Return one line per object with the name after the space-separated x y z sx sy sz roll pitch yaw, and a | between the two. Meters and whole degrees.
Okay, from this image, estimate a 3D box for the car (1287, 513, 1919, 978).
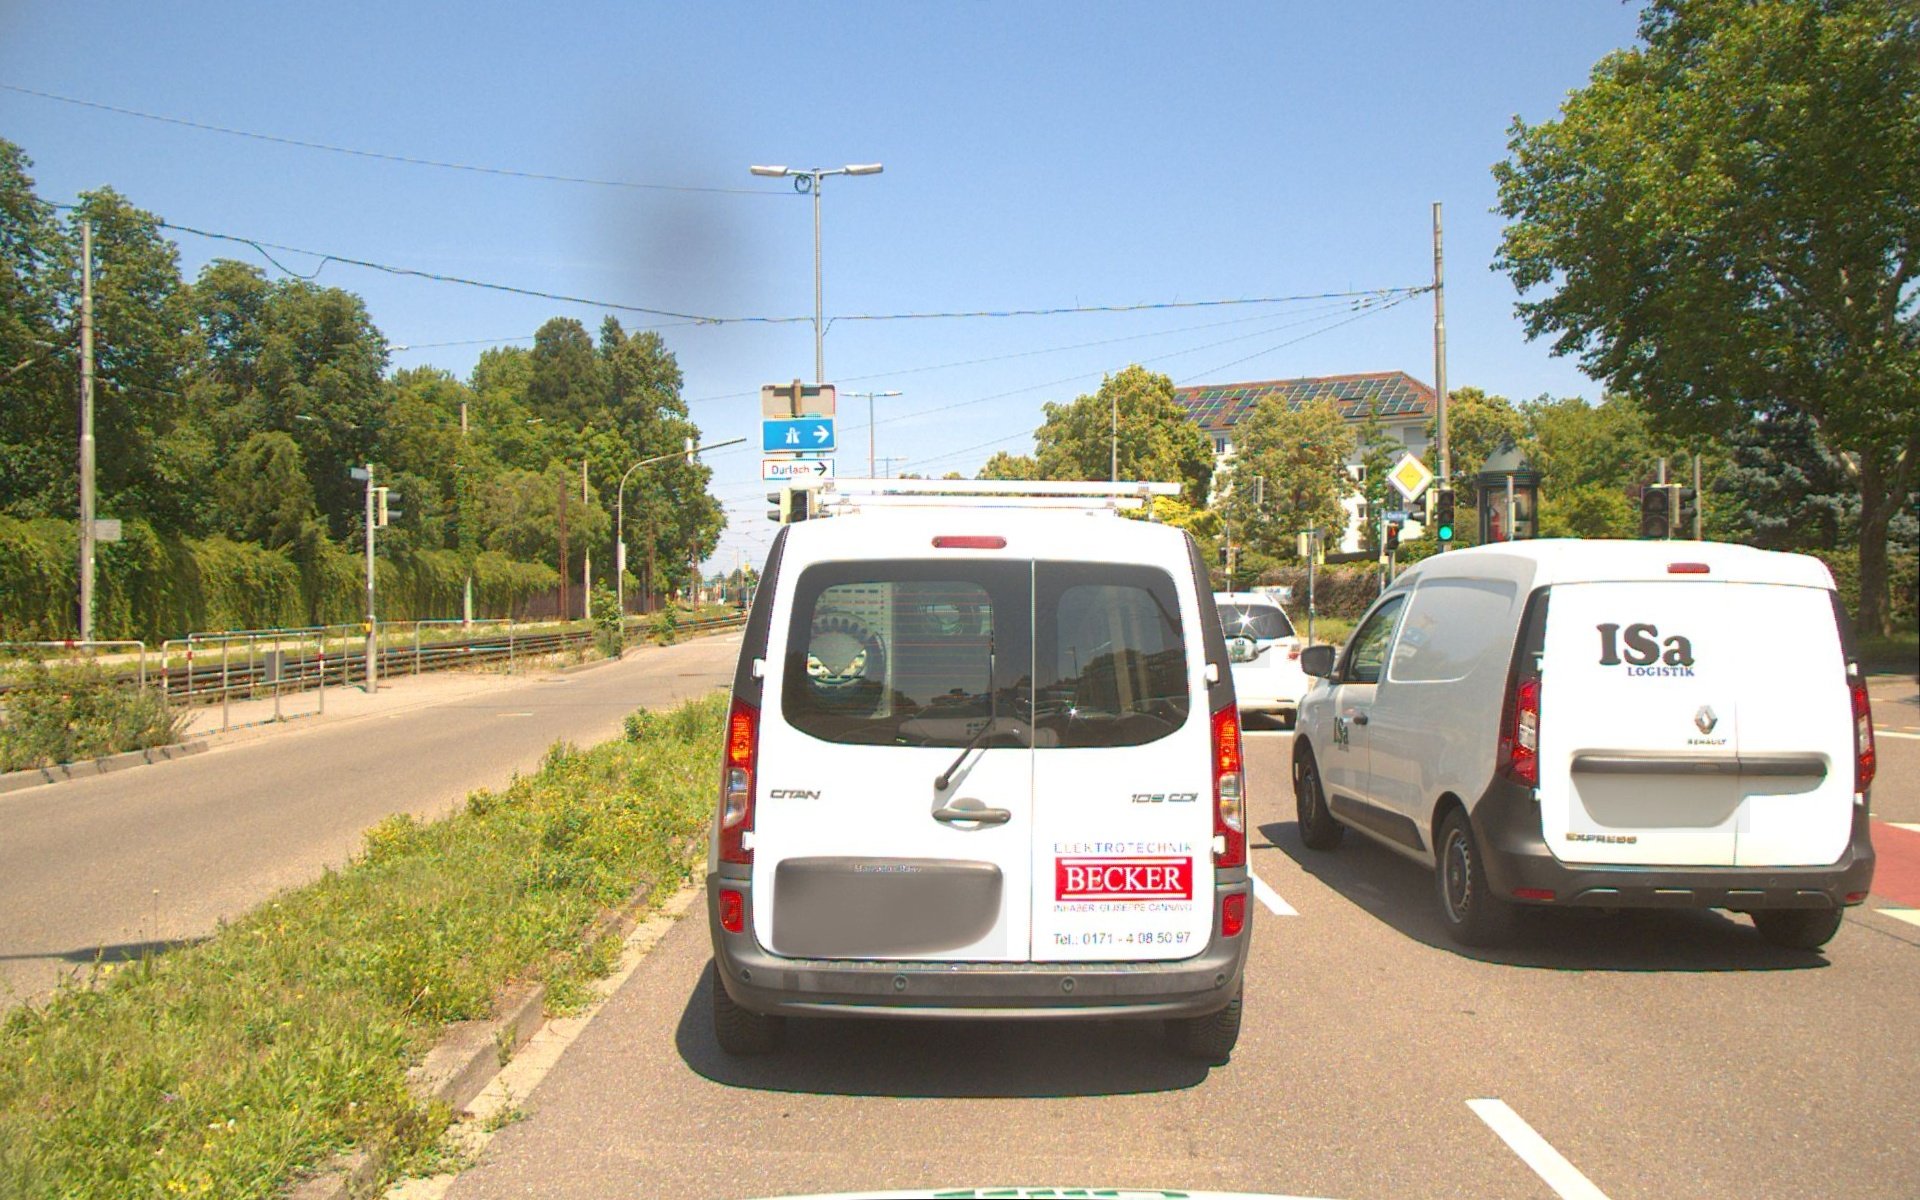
3.013 0.581 8.579 1.693 1.819 4.063 1 0 -2 | car

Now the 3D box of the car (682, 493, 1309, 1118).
0.074 0.578 6.907 1.784 1.770 4.395 0 0 -1 | car

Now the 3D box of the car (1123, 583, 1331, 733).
3.106 0.609 20.004 1.798 1.596 3.999 1 1 -1 | car

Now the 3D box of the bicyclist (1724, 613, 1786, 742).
11.512 1.106 23.953 0.564 1.819 0.768 1 0 7 | bicyclist
